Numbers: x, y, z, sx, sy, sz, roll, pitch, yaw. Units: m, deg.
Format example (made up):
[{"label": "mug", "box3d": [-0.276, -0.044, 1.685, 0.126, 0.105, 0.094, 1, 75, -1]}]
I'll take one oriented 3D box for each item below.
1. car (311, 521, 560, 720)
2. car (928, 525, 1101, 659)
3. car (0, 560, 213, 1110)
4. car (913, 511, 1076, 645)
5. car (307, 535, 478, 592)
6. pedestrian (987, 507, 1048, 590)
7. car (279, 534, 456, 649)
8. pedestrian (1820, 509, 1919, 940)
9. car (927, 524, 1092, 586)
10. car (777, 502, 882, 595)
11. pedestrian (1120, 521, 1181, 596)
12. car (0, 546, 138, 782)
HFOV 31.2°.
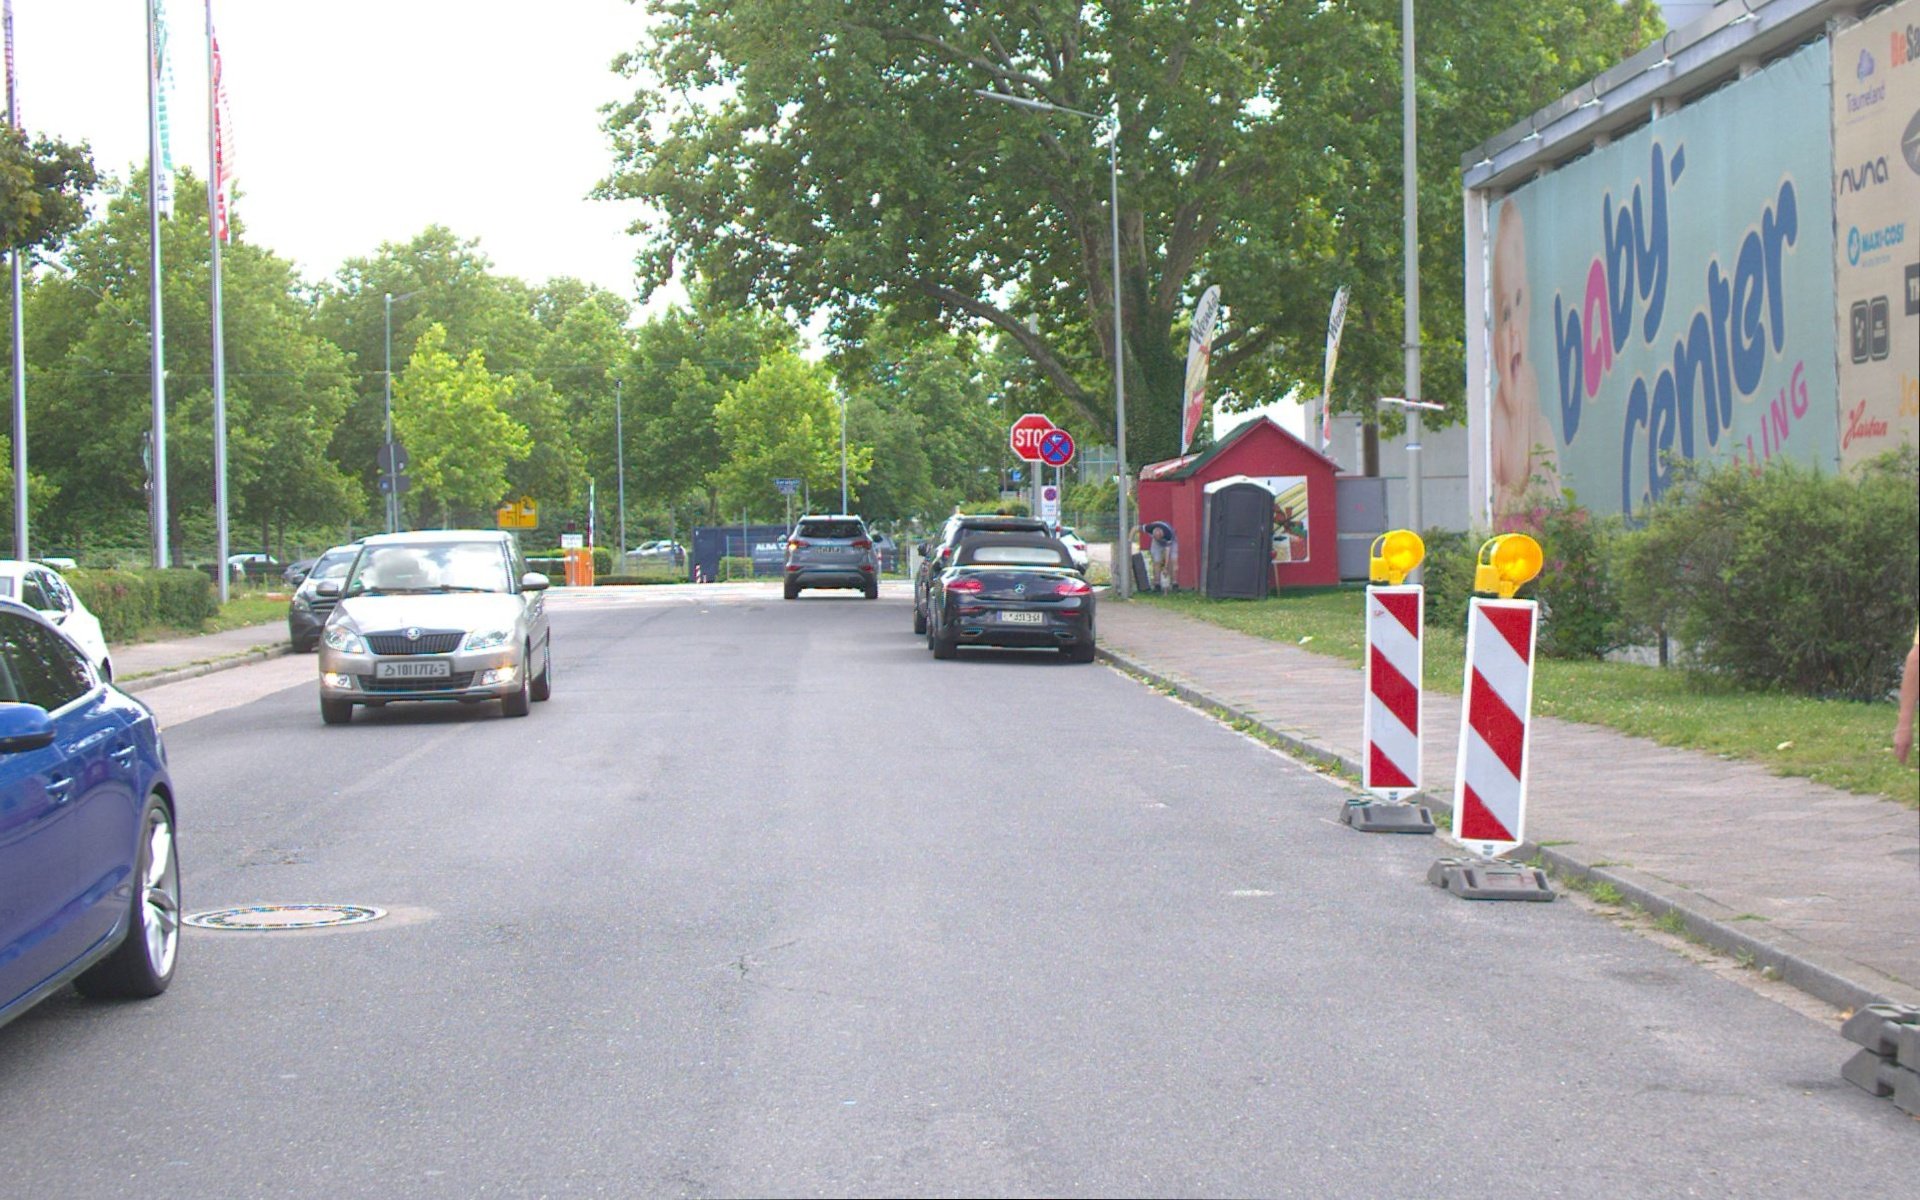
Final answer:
[{"label": "car", "box3d": [-4.244, 0.113, 28.272, 1.590, 1.460, 3.762, -2, 1, -3]}, {"label": "car", "box3d": [0.573, -0.137, 39.565, 1.808, 1.386, 4.588, 2, 1, -1]}, {"label": "car", "box3d": [-3.458, 0.623, 9.513, 1.923, 1.372, 4.380, -1, 1, -2]}, {"label": "car", "box3d": [0.406, -0.335, 45.922, 1.808, 1.659, 4.641, 2, 1, -3]}, {"label": "car", "box3d": [-14.847, -0.956, 90.107, 4.219, 1.401, 1.924, -1, 1, -4]}, {"label": "pedestrian", "box3d": [1.294, -1.167, 77.622, 1.000, 1.843, 1.230, -1, 1, -20]}, {"label": "car", "box3d": [-8.290, -0.155, 48.412, 1.709, 1.415, 4.331, -4, 1, -1]}, {"label": "pedestrian", "box3d": [3.688, 0.432, 12.568, 0.681, 1.528, 1.130, -1, 1, -7]}, {"label": "car", "box3d": [1.288, -1.201, 91.288, 4.219, 1.574, 1.924, -1, 1, -4]}, {"label": "car", "box3d": [-2.682, -1.069, 69.944, 1.961, 1.809, 4.276, -1, 1, -4]}, {"label": "pedestrian", "box3d": [3.374, -0.737, 60.765, 1.014, 1.309, 0.964, -1, 1, 6]}, {"label": "car", "box3d": [-7.104, 0.429, 24.176, 1.765, 1.474, 4.236, -4, 2, -3]}]
